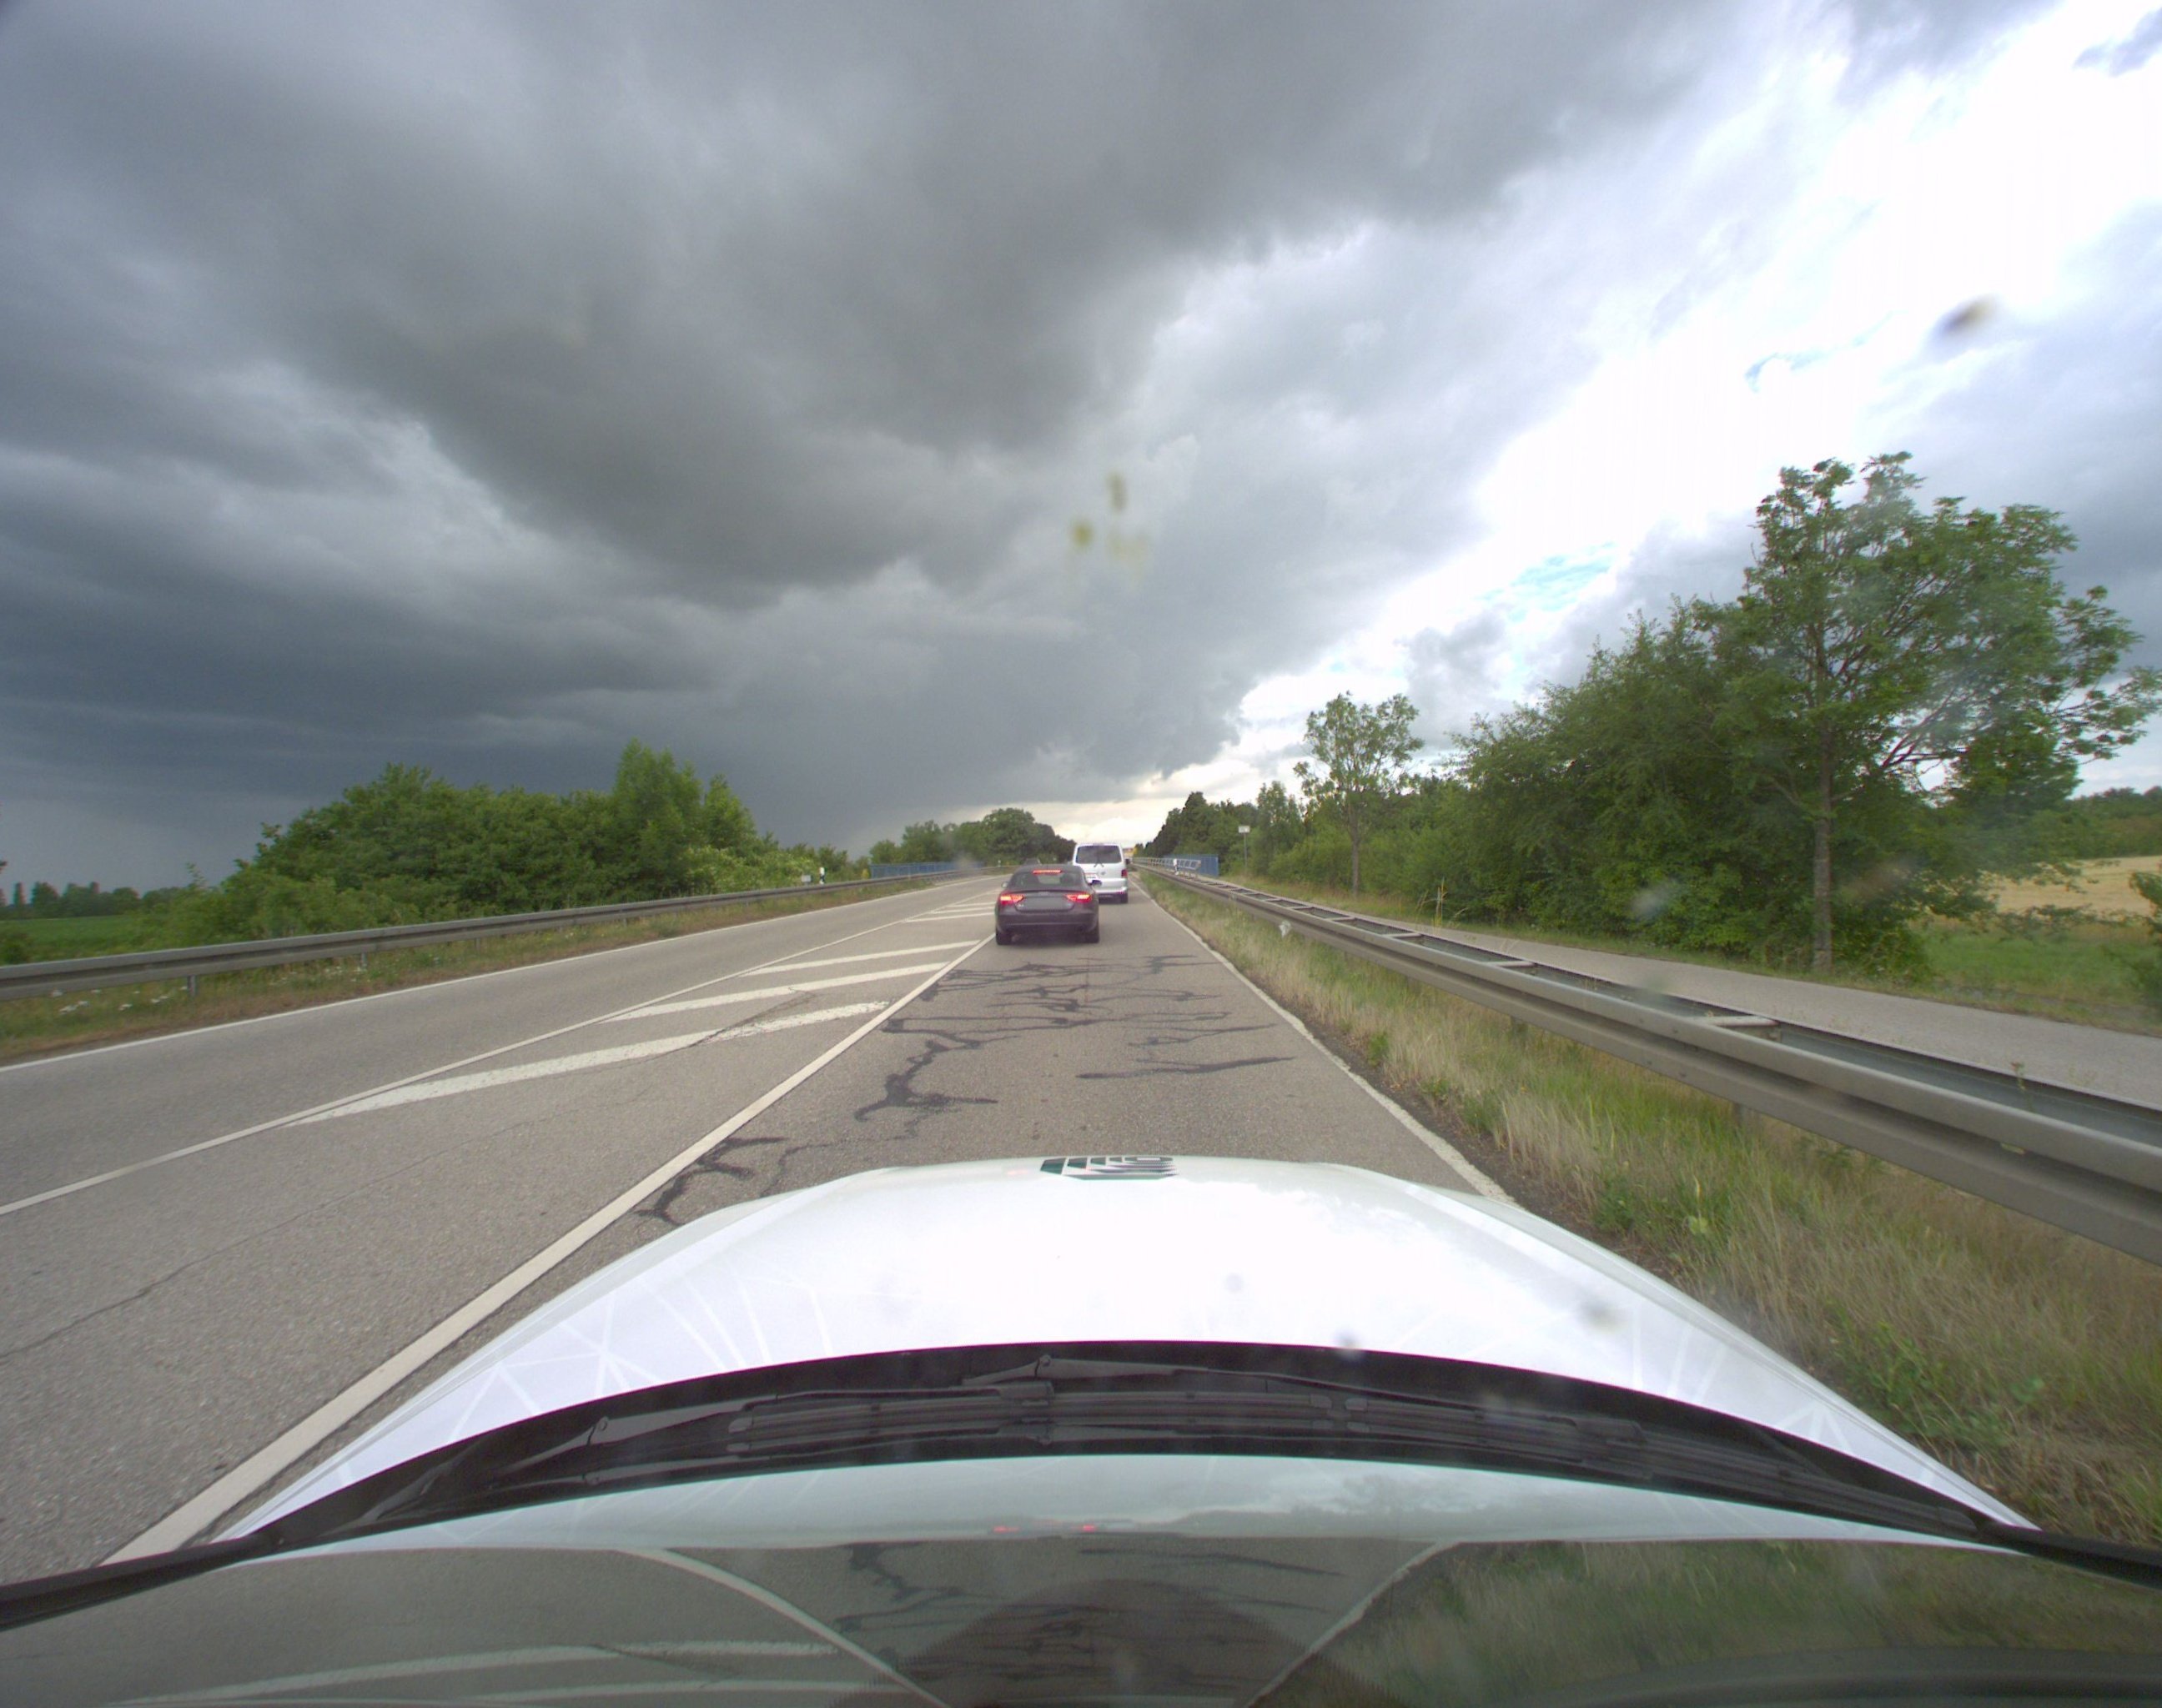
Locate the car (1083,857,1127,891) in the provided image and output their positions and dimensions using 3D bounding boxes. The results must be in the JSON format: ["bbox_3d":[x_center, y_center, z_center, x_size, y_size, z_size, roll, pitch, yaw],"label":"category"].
[{"bbox_3d":[1.116,0.868,36.576,1.814,1.381,4.074,-2,0,3],"label":"car"}]

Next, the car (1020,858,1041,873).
[{"bbox_3d":[-4.988,1.141,80.993,1.793,1.450,4.446,-2,-1,0],"label":"car"}]

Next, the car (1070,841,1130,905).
[{"bbox_3d":[0.653,0.603,27.386,1.821,1.935,4.001,-2,-1,1],"label":"car"}]

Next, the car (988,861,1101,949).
[{"bbox_3d":[-0.553,0.862,15.457,1.815,1.381,4.073,-2,-1,2],"label":"car"}]
